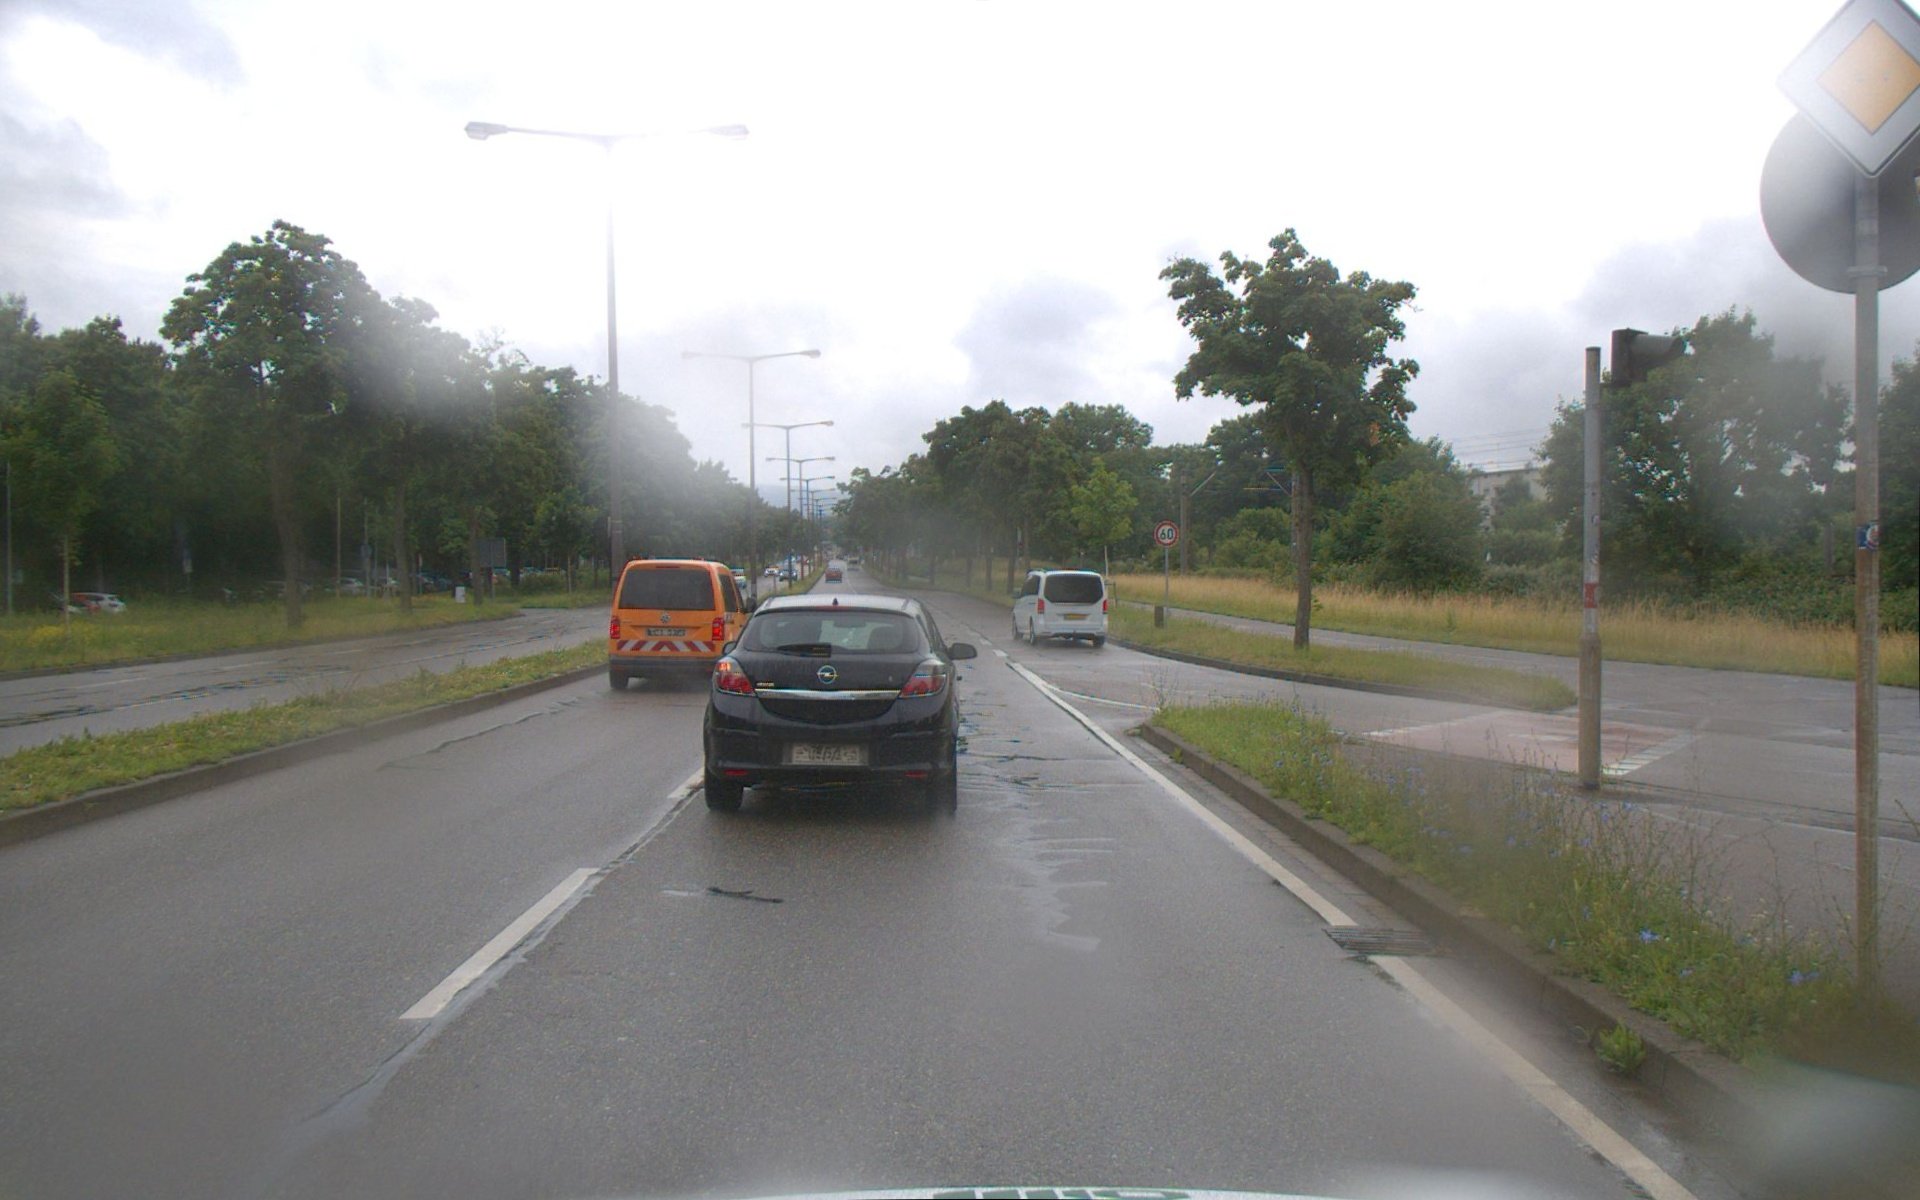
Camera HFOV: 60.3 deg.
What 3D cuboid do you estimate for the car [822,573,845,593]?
[{"bbox_3d":[-12.434,-1.648,162.522,1.953,1.912,4.000,1,0,0],"label":"car"}]

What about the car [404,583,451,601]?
[{"bbox_3d":[-45.434,-0.697,141.290,3.776,1.477,1.517,-1,1,-18],"label":"car"}]

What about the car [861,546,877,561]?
[{"bbox_3d":[-14.087,-7.177,255.691,2.466,2.088,5.289,2,0,-4],"label":"car"}]

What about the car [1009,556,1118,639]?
[{"bbox_3d":[2.618,-0.071,42.928,2.020,2.009,4.602,1,0,-7],"label":"car"}]

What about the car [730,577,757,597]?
[{"bbox_3d":[-17.415,-1.043,133.127,1.649,1.581,3.999,1,0,-1],"label":"car"}]

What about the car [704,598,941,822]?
[{"bbox_3d":[-0.874,0.682,12.144,1.433,1.352,3.757,0,0,0],"label":"car"}]

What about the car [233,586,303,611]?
[{"bbox_3d":[-43.409,-0.110,103.817,3.763,1.477,1.522,-1,1,-8],"label":"car"}]

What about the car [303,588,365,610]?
[{"bbox_3d":[-44.145,-0.096,116.686,3.763,1.477,1.522,-1,1,-8],"label":"car"}]

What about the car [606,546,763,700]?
[{"bbox_3d":[-3.981,0.278,24.615,1.700,2.054,4.847,0,1,-2],"label":"car"}]

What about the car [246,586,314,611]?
[{"bbox_3d":[-43.754,-0.109,106.477,3.763,1.477,1.522,-1,1,-8],"label":"car"}]

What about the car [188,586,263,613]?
[{"bbox_3d":[-42.698,-0.040,96.211,3.664,1.451,1.486,-1,1,-8],"label":"car"}]

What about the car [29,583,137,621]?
[{"bbox_3d":[-40.356,0.082,76.196,3.912,1.668,1.908,-1,1,-8],"label":"car"}]

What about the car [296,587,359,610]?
[{"bbox_3d":[-43.689,-0.095,114.294,3.763,1.477,1.522,-1,1,-8],"label":"car"}]
